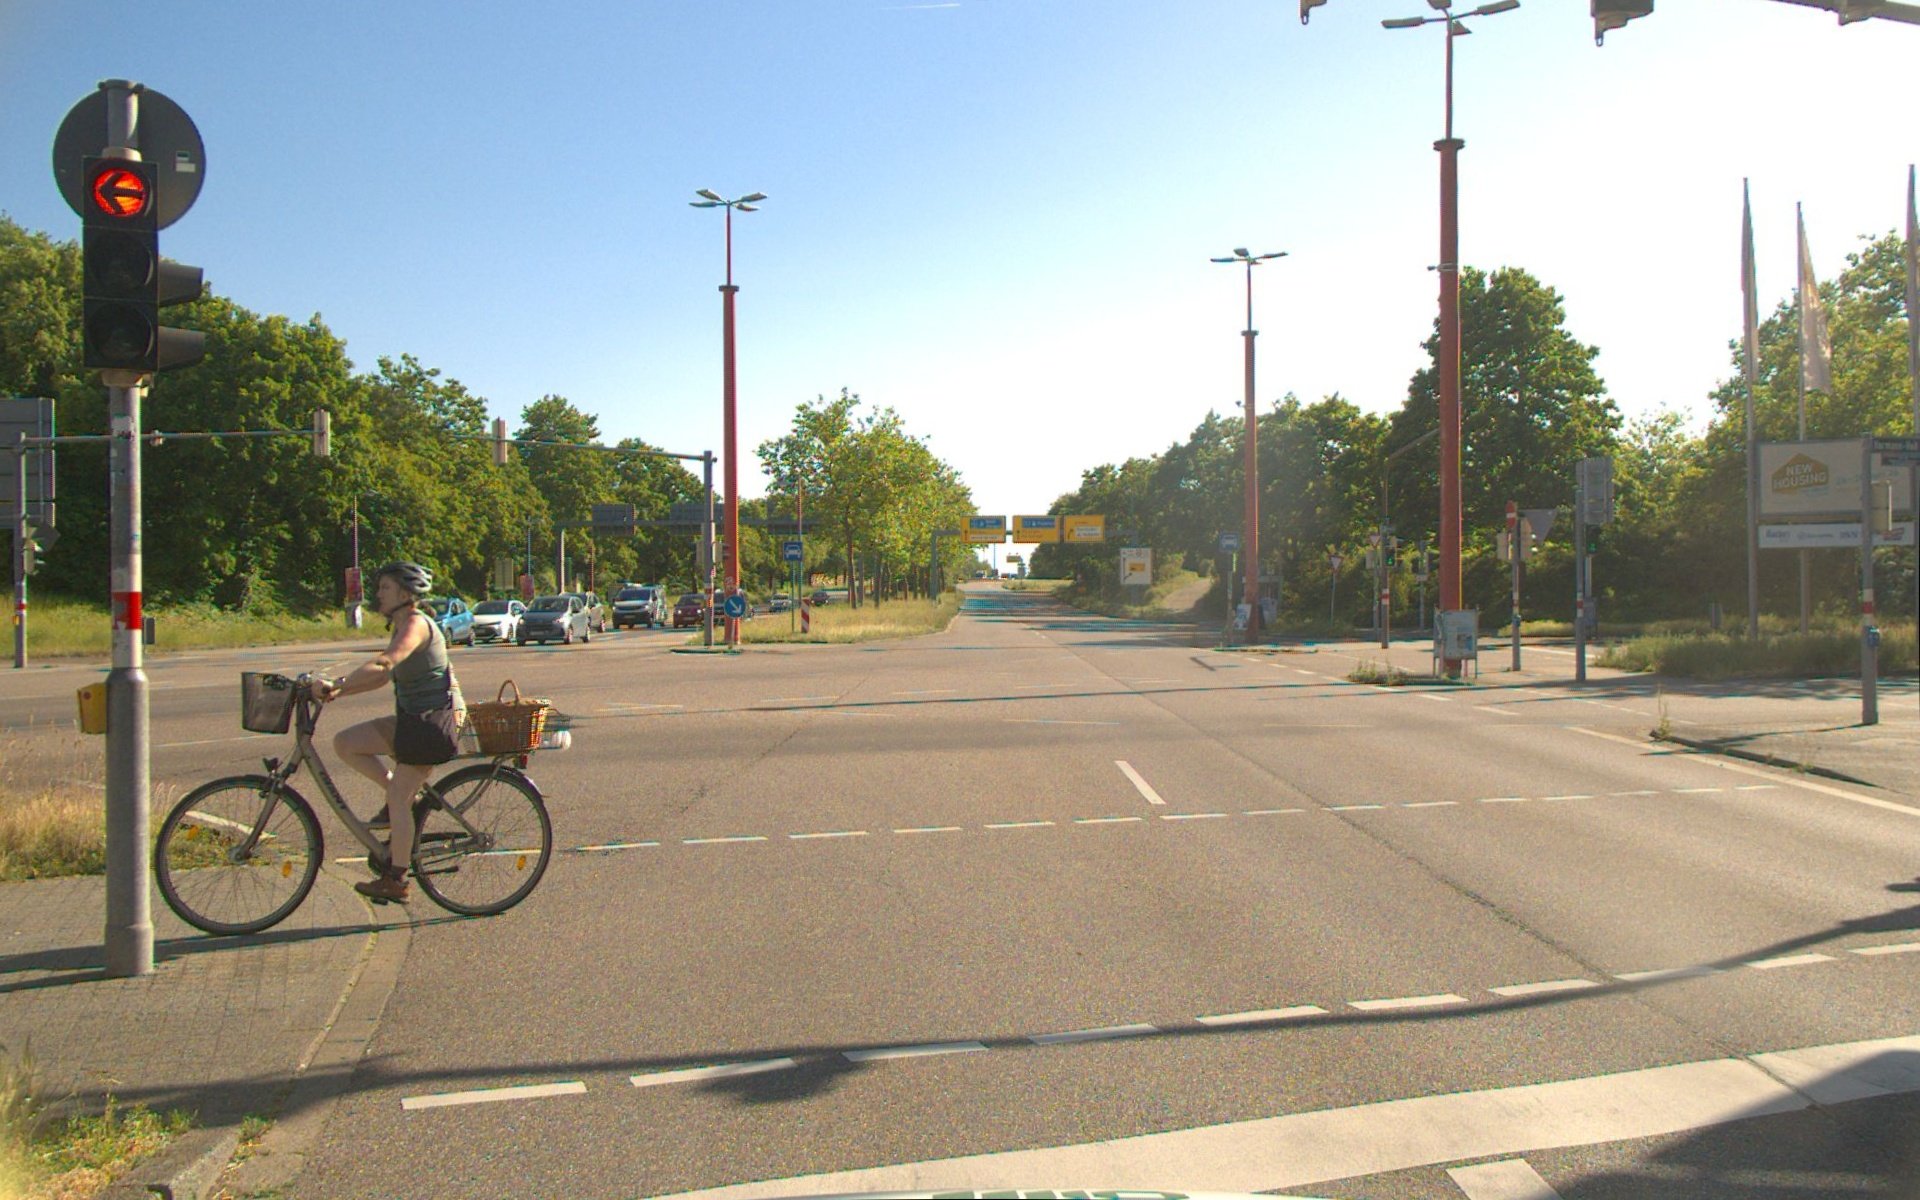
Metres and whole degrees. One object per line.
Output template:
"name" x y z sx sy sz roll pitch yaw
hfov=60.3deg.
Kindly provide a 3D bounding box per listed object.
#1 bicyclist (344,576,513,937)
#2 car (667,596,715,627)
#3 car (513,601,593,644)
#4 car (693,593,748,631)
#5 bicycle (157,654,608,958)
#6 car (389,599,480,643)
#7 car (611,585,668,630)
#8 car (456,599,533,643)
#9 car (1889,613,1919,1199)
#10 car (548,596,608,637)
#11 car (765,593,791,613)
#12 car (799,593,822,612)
"bicyclist" -2.525 0.696 7.837 0.653 1.612 0.666 0 0 -28
"car" -12.294 0.500 75.830 1.704 1.386 3.611 0 0 -2
"car" -12.669 0.672 51.697 1.704 1.265 3.611 0 0 -2
"car" -9.965 0.481 69.007 1.782 1.534 3.999 0 0 -1
"bicycle" -2.684 0.895 7.750 1.920 1.216 0.686 0 0 -29
"car" -16.050 0.614 50.675 1.704 1.265 3.611 0 0 -2
"car" -15.331 0.328 79.421 1.855 2.061 5.221 0 0 -2
"car" -15.927 0.704 56.792 1.704 1.436 3.611 0 0 -2
"car" 2.908 0.739 1.340 1.831 1.422 4.443 0 0 0
"car" -15.684 0.653 68.039 1.704 1.640 3.611 0 0 -2
"car" -15.177 0.256 137.848 1.761 1.668 3.999 0 0 -1
"car" -13.451 0.212 149.215 1.782 1.657 3.999 0 0 -1
